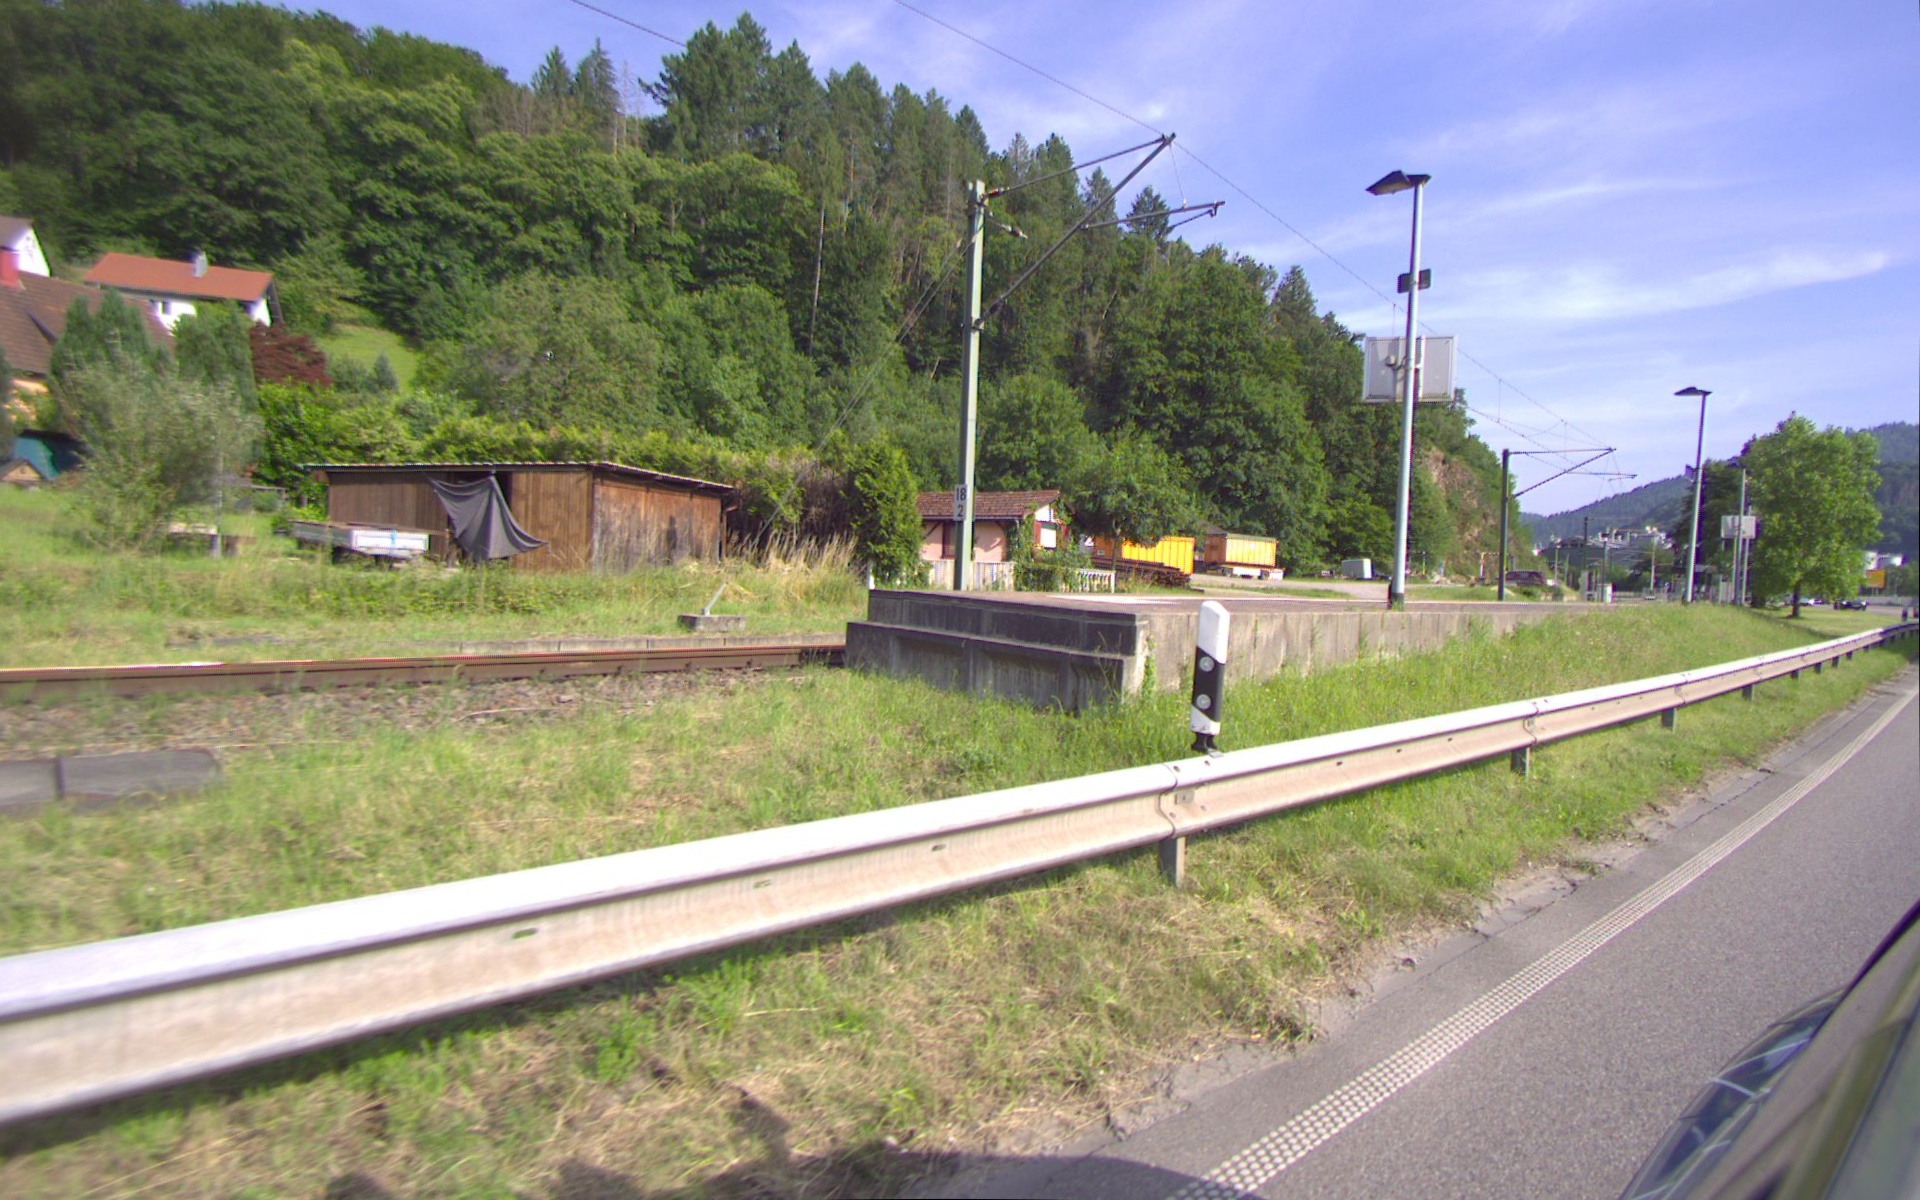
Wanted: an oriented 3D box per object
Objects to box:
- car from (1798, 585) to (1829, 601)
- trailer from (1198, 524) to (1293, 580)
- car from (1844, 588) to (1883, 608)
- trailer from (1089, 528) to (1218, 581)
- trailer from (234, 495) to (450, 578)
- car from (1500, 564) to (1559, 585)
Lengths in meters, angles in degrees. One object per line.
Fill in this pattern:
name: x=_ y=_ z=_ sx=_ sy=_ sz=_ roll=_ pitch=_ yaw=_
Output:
car: x=96.317 y=-0.814 z=114.232 sx=1.871 sy=1.766 sz=4.135 roll=3 pitch=3 yaw=30
trailer: x=24.707 y=-4.042 z=87.313 sx=9.037 sy=4.538 sz=2.738 roll=-1 pitch=0 yaw=-35
car: x=85.401 y=-0.198 z=95.700 sx=1.872 sy=1.766 sz=4.133 roll=3 pitch=3 yaw=31
trailer: x=12.339 y=-2.785 z=63.976 sx=9.045 sy=3.062 sz=2.735 roll=-1 pitch=0 yaw=-38
trailer: x=-12.714 y=-1.316 z=20.768 sx=4.078 sy=1.045 sz=2.296 roll=11 pitch=4 yaw=34
car: x=57.469 y=-2.534 z=102.175 sx=4.946 sy=2.039 sz=1.973 roll=0 pitch=0 yaw=37
